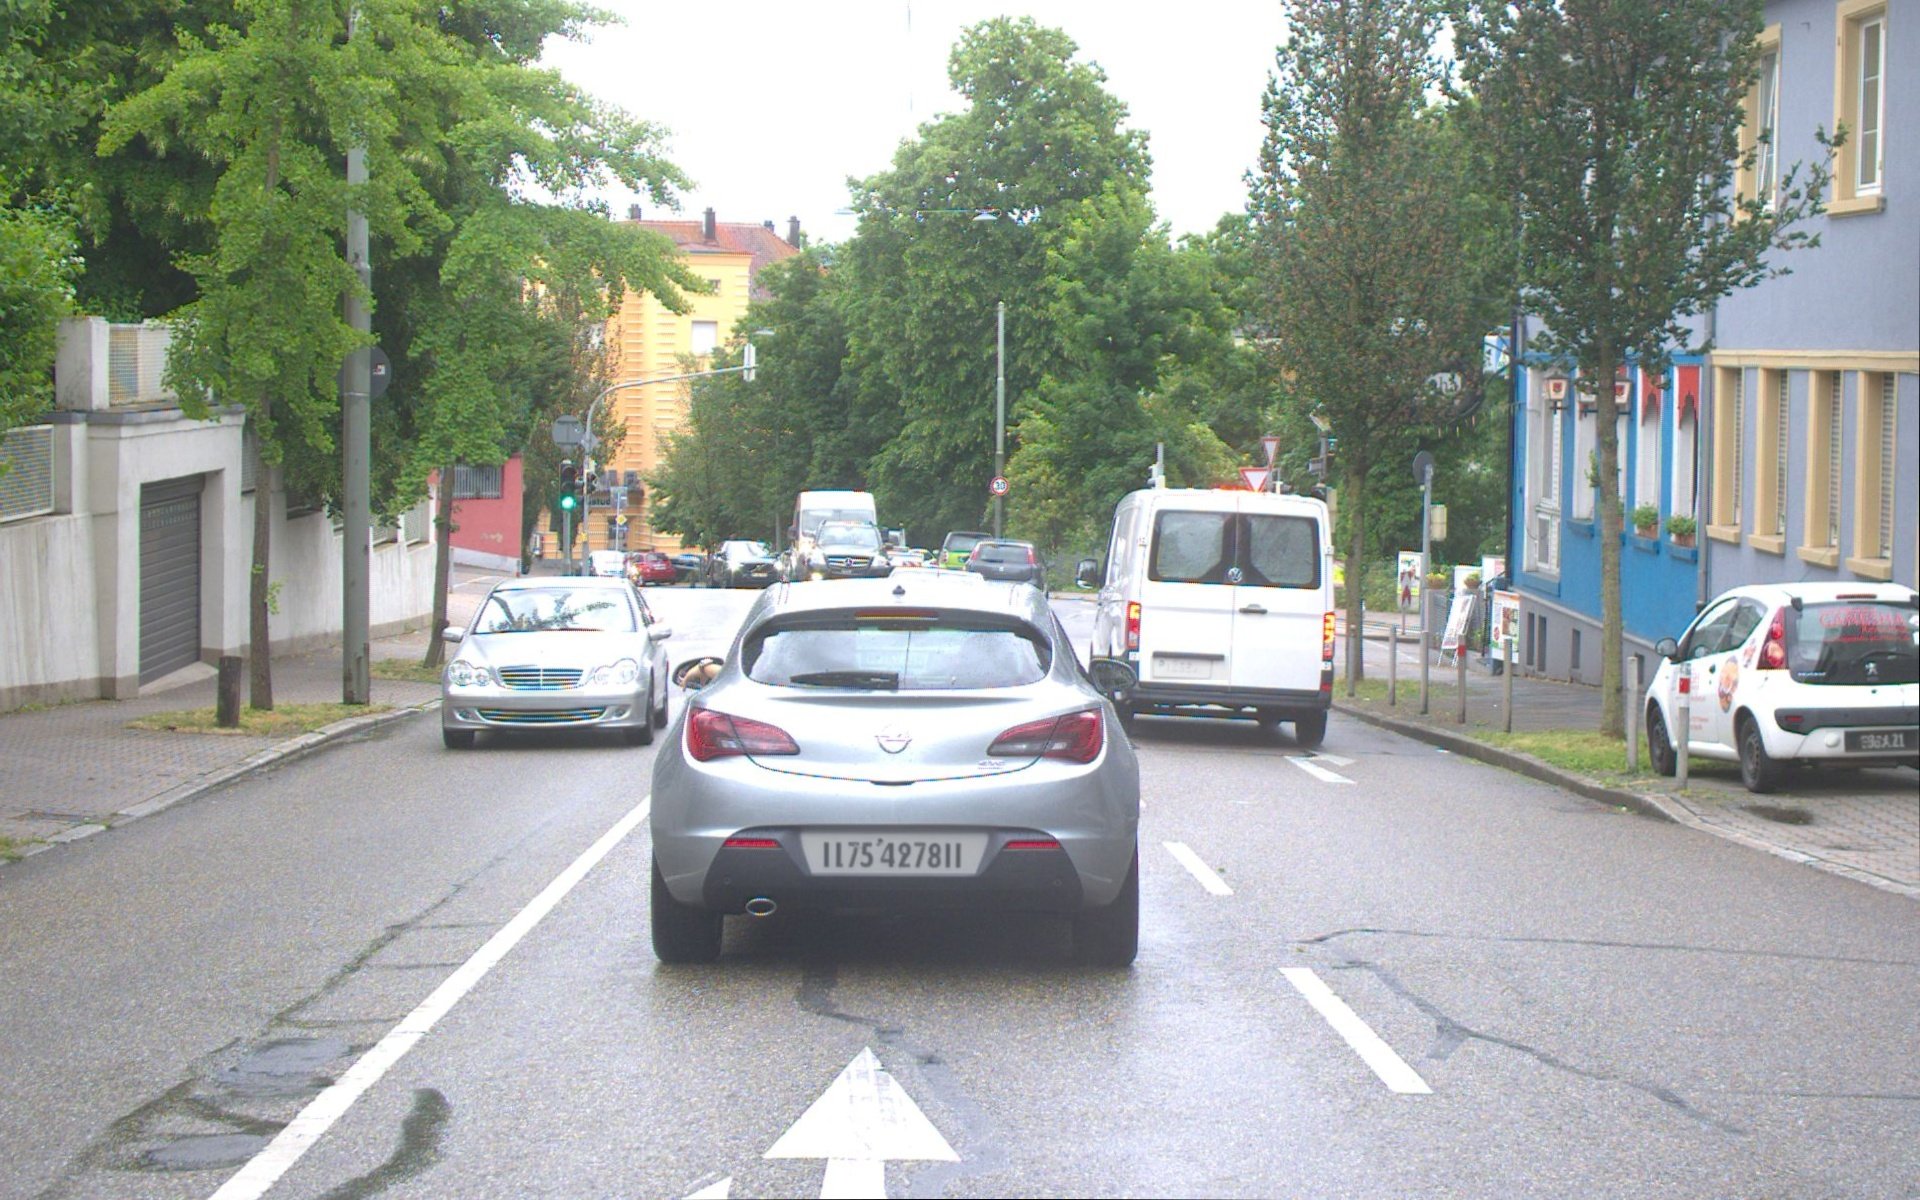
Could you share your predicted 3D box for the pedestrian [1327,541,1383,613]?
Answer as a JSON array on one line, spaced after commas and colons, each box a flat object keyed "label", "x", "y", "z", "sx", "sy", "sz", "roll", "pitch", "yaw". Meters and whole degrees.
[{"label": "pedestrian", "x": 8.953, "y": -0.527, "z": 77.898, "sx": 0.965, "sy": 1.600, "sz": 0.766, "roll": -1, "pitch": 1, "yaw": 41}]

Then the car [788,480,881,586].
[{"label": "car", "x": -3.166, "y": -1.652, "z": 85.706, "sx": 2.117, "sy": 2.537, "sz": 5.540, "roll": 1, "pitch": 1, "yaw": -4}]

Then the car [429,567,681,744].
[{"label": "car", "x": -3.447, "y": 0.426, "z": 29.963, "sx": 1.719, "sy": 1.380, "sz": 4.285, "roll": -1, "pitch": 1, "yaw": -1}]

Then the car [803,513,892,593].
[{"label": "car", "x": -2.519, "y": -1.066, "z": 76.198, "sx": 1.821, "sy": 1.646, "sz": 4.347, "roll": 2, "pitch": 2, "yaw": -3}]

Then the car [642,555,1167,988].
[{"label": "car", "x": -0.221, "y": 0.580, "z": 14.144, "sx": 1.815, "sy": 1.425, "sz": 4.000, "roll": 2, "pitch": 2, "yaw": -1}]

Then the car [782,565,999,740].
[{"label": "car", "x": -0.600, "y": 0.416, "z": 30.191, "sx": 1.776, "sy": 1.425, "sz": 3.786, "roll": 0, "pitch": 1, "yaw": -1}]

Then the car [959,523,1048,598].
[{"label": "car", "x": 0.877, "y": -0.793, "z": 70.932, "sx": 1.620, "sy": 1.481, "sz": 3.436, "roll": 1, "pitch": 0, "yaw": -2}]

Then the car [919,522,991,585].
[{"label": "car", "x": -0.144, "y": -1.128, "z": 84.077, "sx": 1.620, "sy": 1.481, "sz": 3.436, "roll": 1, "pitch": 0, "yaw": -2}]

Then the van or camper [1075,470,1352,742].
[{"label": "van or camper", "x": 2.350, "y": 0.014, "z": 33.297, "sx": 2.103, "sy": 2.318, "sz": 5.417, "roll": 3, "pitch": 1, "yaw": -1}]

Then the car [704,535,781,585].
[{"label": "car", "x": -7.040, "y": -1.288, "z": 110.862, "sx": 1.874, "sy": 1.569, "sz": 4.587, "roll": 1, "pitch": 0, "yaw": -11}]

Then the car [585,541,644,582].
[{"label": "car", "x": -13.441, "y": -1.489, "z": 133.716, "sx": 1.773, "sy": 1.492, "sz": 4.264, "roll": 2, "pitch": 0, "yaw": -12}]

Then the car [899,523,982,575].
[{"label": "car", "x": -0.666, "y": -1.647, "z": 111.256, "sx": 1.814, "sy": 1.490, "sz": 4.001, "roll": -5, "pitch": 1, "yaw": -12}]

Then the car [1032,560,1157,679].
[{"label": "car", "x": 1.659, "y": 0.215, "z": 43.201, "sx": 1.383, "sy": 1.407, "sz": 3.457, "roll": 0, "pitch": 1, "yaw": -1}]

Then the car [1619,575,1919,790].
[{"label": "car", "x": 6.094, "y": 0.549, "z": 25.211, "sx": 1.586, "sy": 1.407, "sz": 3.457, "roll": -1, "pitch": 1, "yaw": -5}]

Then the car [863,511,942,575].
[{"label": "car", "x": -1.767, "y": -1.722, "z": 104.831, "sx": 1.781, "sy": 1.848, "sz": 4.001, "roll": 1, "pitch": 0, "yaw": -10}]
